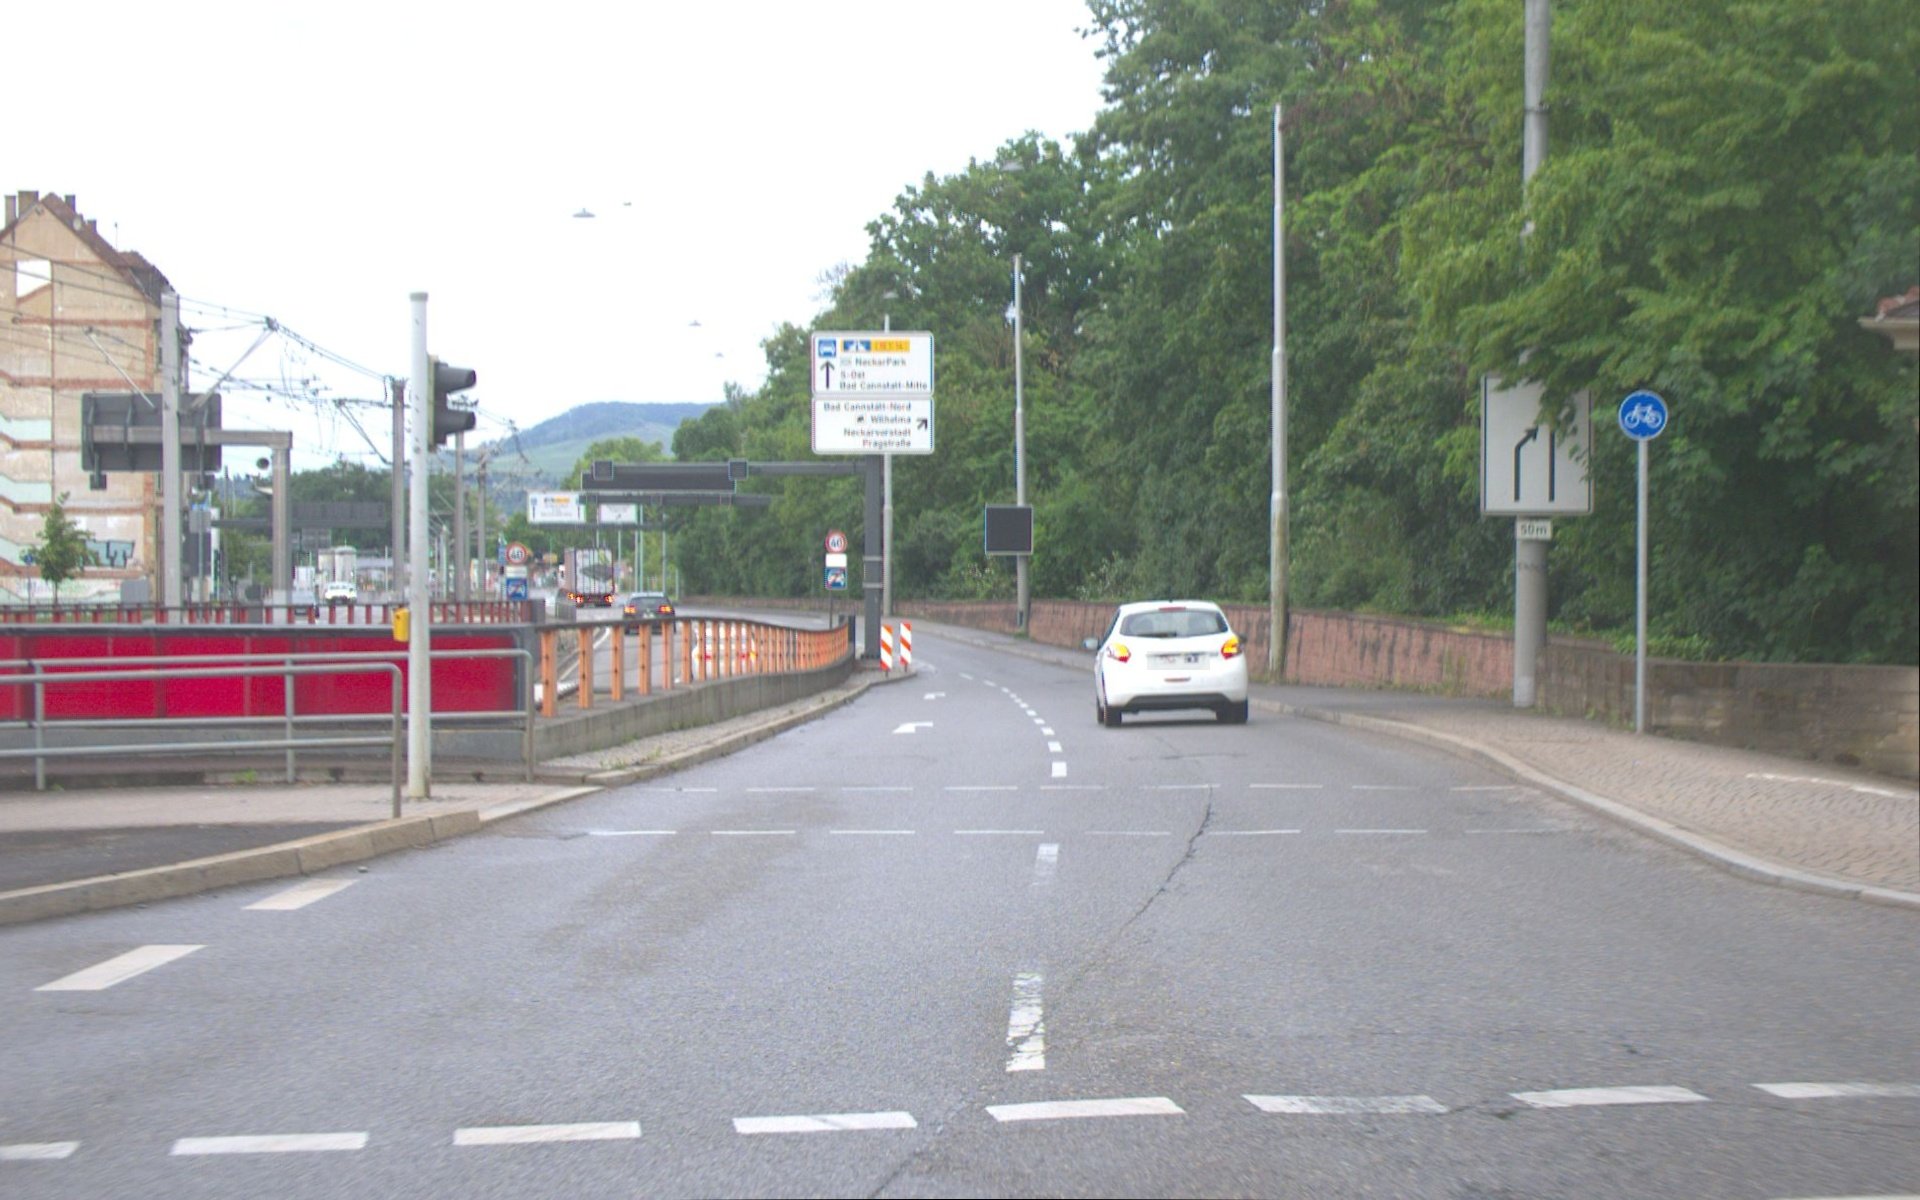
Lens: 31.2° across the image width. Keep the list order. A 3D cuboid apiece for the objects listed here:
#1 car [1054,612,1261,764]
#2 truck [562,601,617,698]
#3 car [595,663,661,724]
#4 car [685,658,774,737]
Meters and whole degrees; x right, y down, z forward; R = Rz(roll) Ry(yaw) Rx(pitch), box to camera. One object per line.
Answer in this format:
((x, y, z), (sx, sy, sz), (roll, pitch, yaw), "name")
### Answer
((2.311, 1.096, 41.249), (1.955, 1.483, 3.999), (0, -6, -4), "car")
((-25.187, 3.436, 233.266), (3.464, 5.384, 12.050), (0, -7, -7), "truck")
((-11.474, 3.237, 118.698), (1.993, 1.866, 4.000), (-1, -4, -9), "car")
((-6.139, 2.604, 91.028), (2.081, 1.866, 4.095), (-1, -4, -7), "car")
